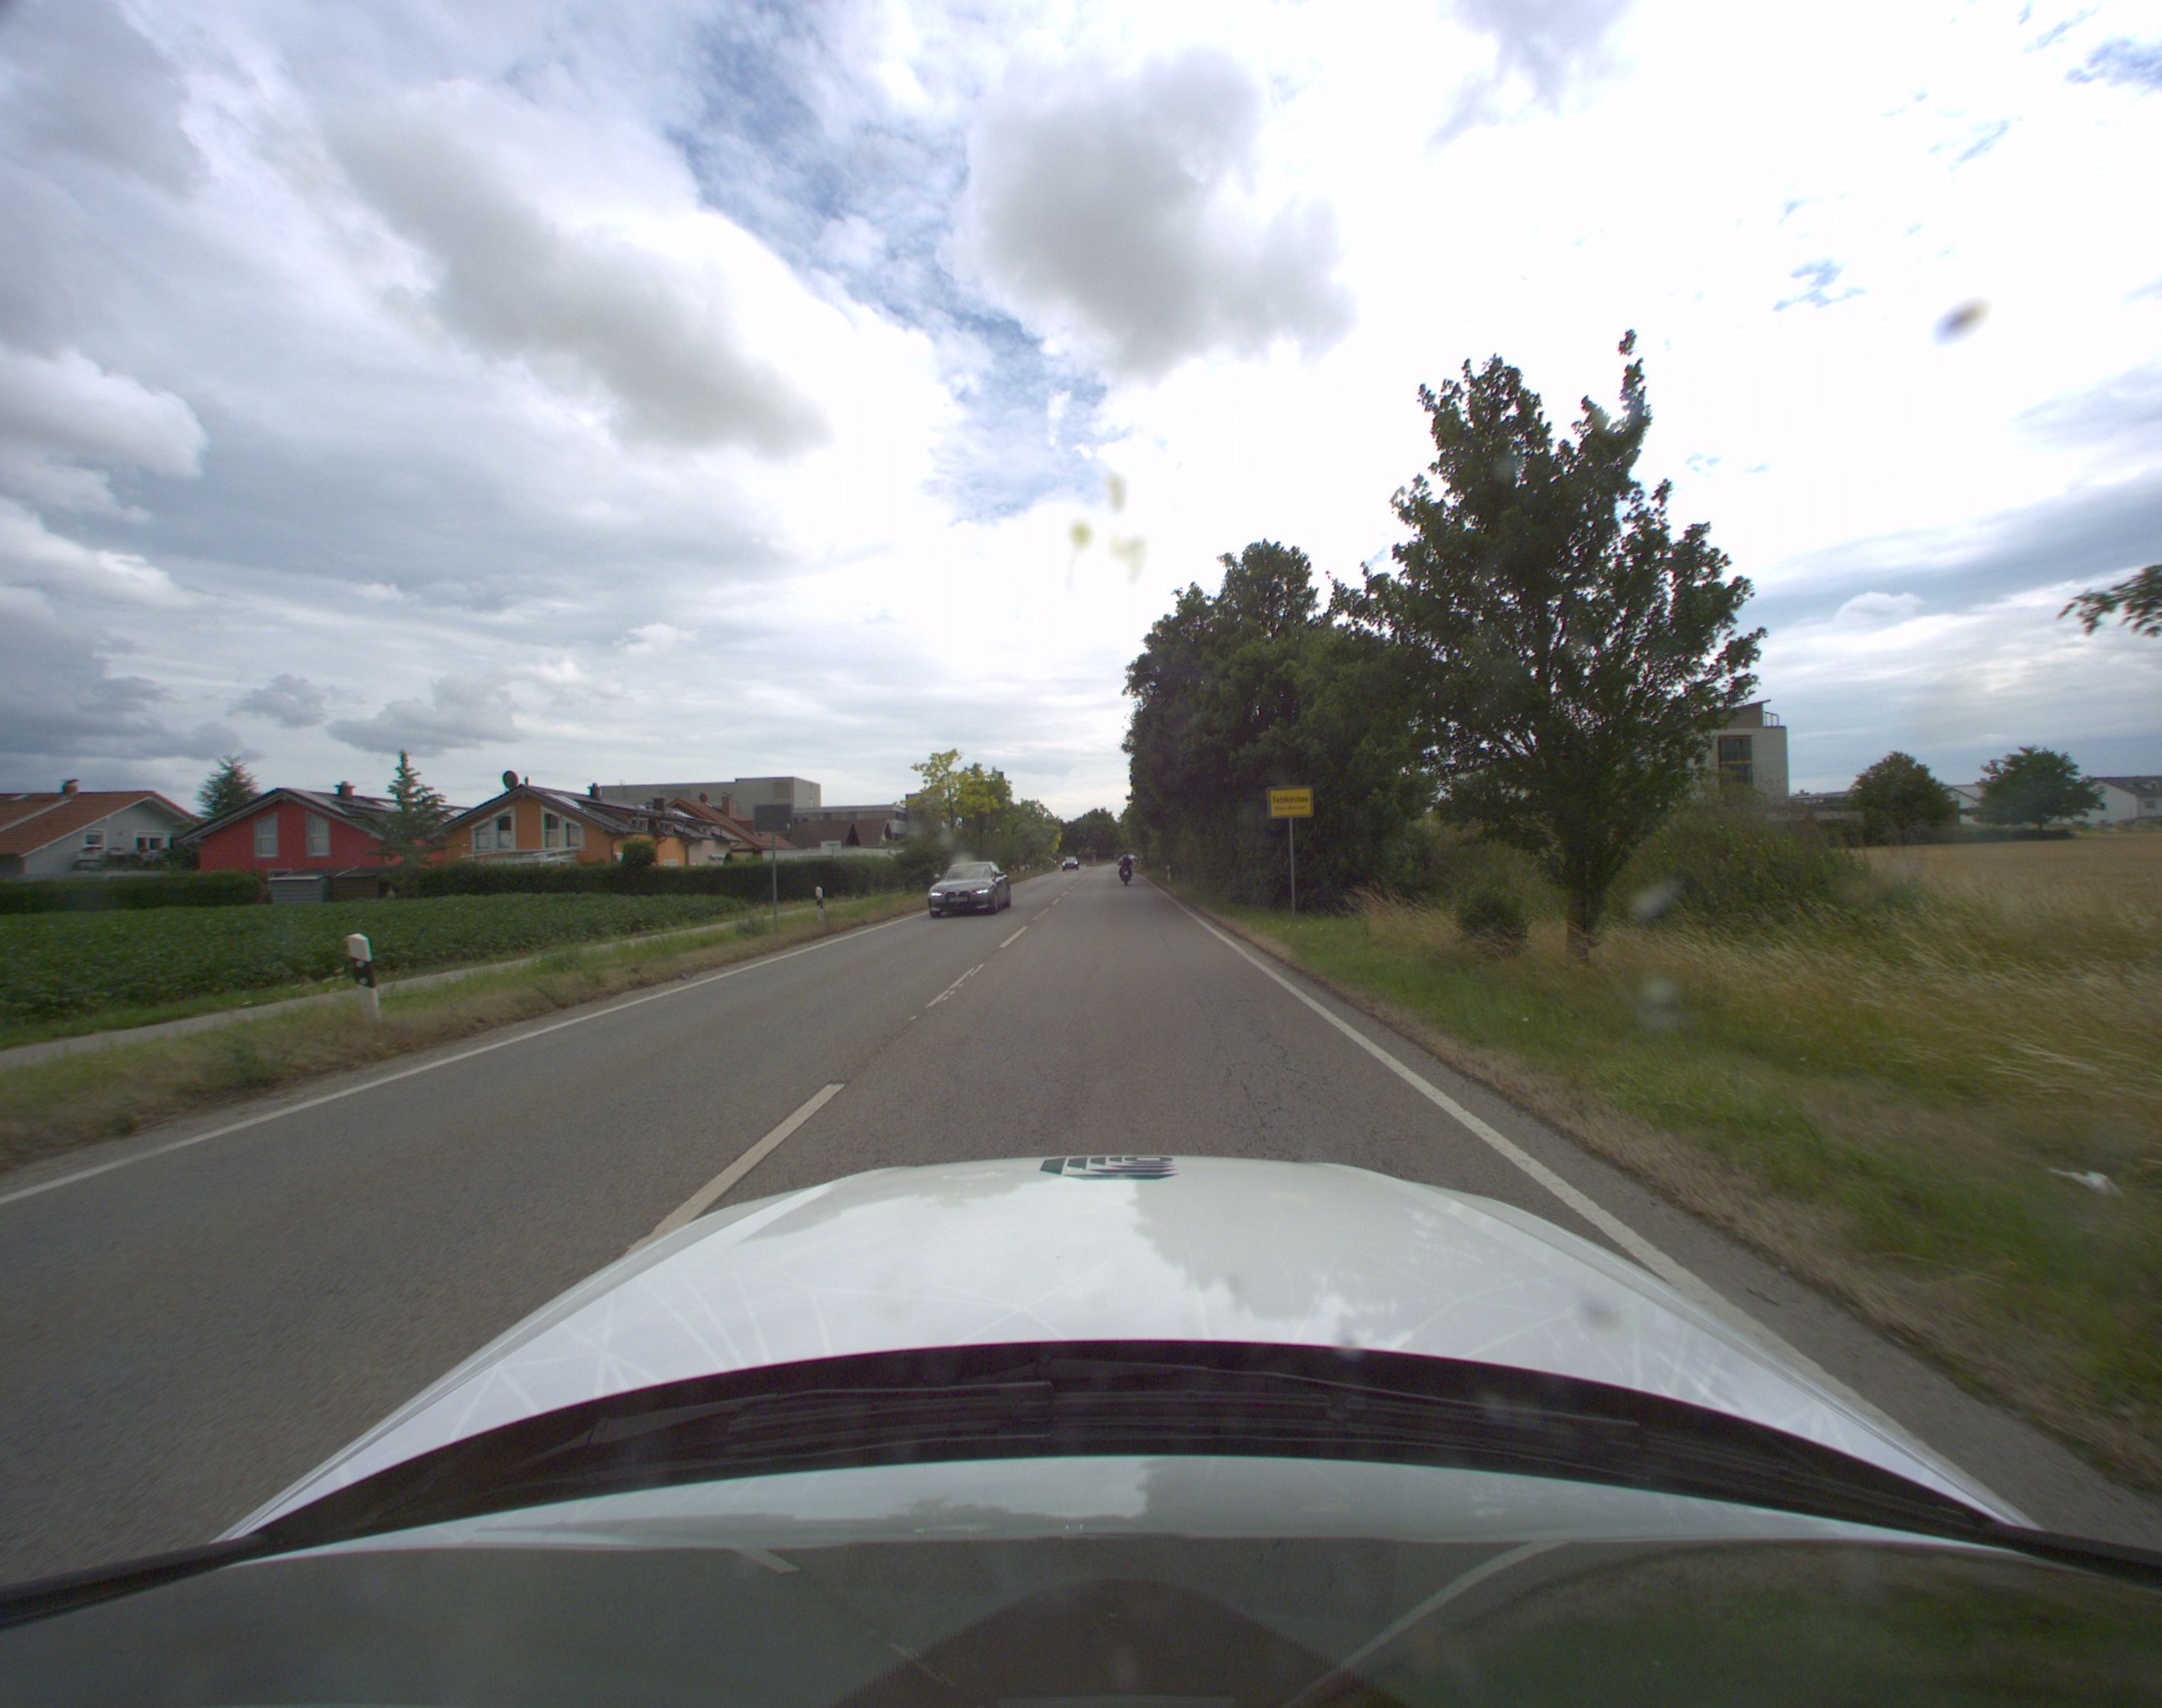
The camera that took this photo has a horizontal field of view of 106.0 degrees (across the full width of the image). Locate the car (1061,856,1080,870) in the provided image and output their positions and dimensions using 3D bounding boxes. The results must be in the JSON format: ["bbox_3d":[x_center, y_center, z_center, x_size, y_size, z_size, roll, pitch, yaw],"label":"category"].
[{"bbox_3d":[-1.131,0.977,91.018,1.809,1.494,4.206,-3,0,2],"label":"car"}]

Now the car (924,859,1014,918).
[{"bbox_3d":[-3.145,0.933,23.801,1.845,1.464,4.372,-3,0,1],"label":"car"}]

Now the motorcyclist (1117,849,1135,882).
[{"bbox_3d":[2.313,0.586,41.698,0.858,1.623,1.191,-2,0,1],"label":"motorcyclist"}]

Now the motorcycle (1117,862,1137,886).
[{"bbox_3d":[2.321,1.002,41.537,0.893,1.158,2.621,-2,0,2],"label":"motorcycle"}]

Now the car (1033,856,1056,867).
[{"bbox_3d":[-6.341,1.263,139.655,1.748,1.534,4.047,-6,0,-39],"label":"car"}]
